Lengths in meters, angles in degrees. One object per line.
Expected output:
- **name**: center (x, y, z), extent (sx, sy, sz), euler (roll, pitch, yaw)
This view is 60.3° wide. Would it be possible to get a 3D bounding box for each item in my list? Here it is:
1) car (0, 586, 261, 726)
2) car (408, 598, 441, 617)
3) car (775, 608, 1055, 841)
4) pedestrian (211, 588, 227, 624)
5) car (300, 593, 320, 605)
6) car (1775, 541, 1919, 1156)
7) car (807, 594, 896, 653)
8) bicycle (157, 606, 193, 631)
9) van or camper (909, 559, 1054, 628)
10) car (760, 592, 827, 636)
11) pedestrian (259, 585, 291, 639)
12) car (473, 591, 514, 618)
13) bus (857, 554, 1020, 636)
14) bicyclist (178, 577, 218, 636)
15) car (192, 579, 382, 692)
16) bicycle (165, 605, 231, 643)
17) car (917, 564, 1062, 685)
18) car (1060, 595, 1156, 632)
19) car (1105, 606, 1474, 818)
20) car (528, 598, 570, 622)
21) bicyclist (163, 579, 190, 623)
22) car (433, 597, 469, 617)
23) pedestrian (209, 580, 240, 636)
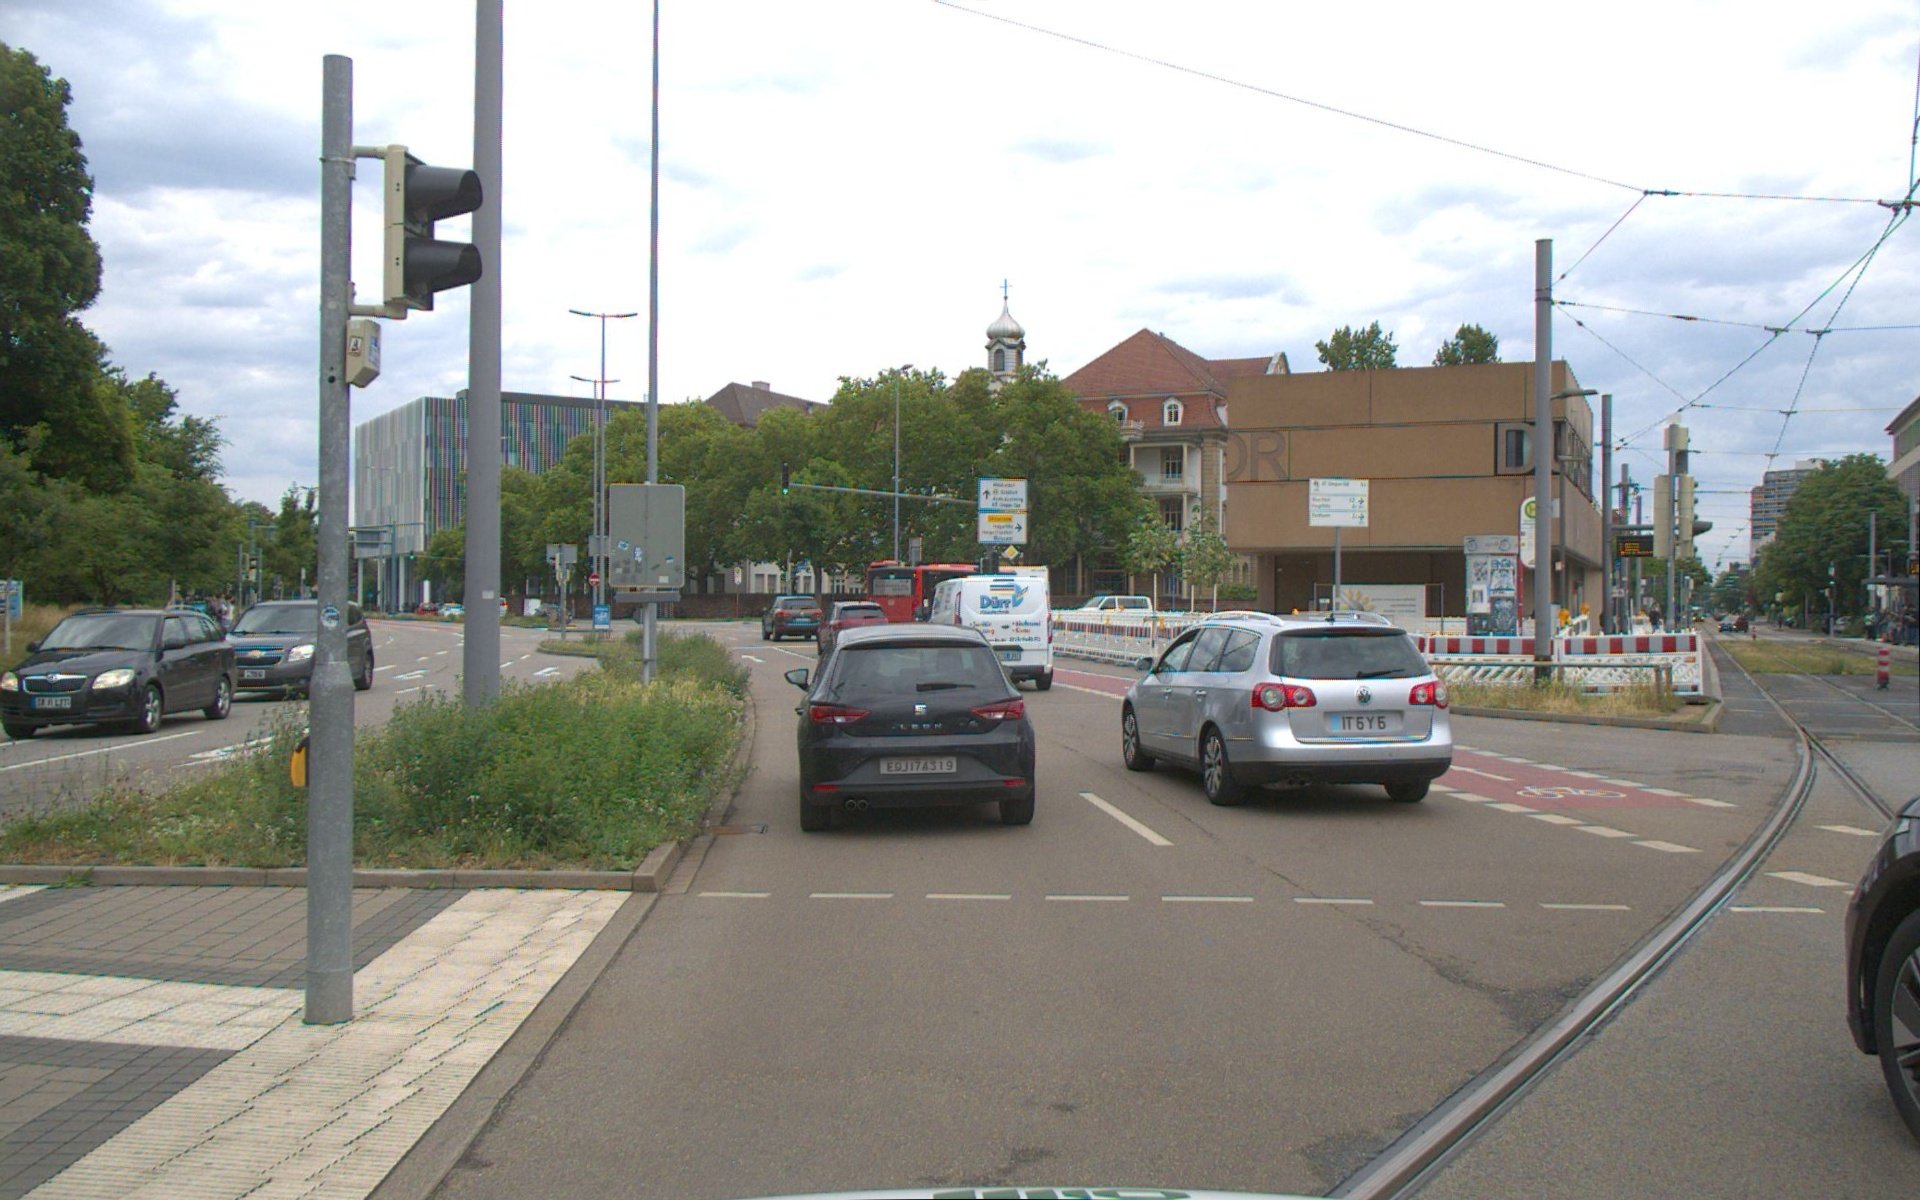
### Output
- **car**: center (-10.548, 0.651, 20.900), extent (1.834, 1.534, 4.474), euler (-2, 0, -5)
- **car**: center (-48.625, 0.664, 150.168), extent (1.974, 1.711, 3.968), euler (1, 0, -31)
- **car**: center (-0.515, 0.845, 13.133), extent (1.713, 1.489, 3.992), euler (-2, 0, -9)
- **pedestrian**: center (-43.020, 0.359, 96.015), extent (0.743, 2.049, 1.041), euler (1, -1, -18)
- **car**: center (-74.774, -0.099, 190.290), extent (1.693, 1.287, 3.306), euler (1, -1, -30)
- **car**: center (3.647, 0.681, 3.080), extent (1.865, 1.687, 4.512), euler (1, 0, -3)
- **car**: center (-3.186, 0.656, 48.002), extent (1.827, 1.628, 4.188), euler (1, 0, -15)
- **bicycle**: center (-28.991, 0.669, 61.102), extent (0.702, 0.898, 1.878), euler (1, 0, -11)
- **van or camper**: center (1.139, -0.280, 85.231), extent (7.057, 3.391, 2.846), euler (1, -2, -31)
- **car**: center (-6.355, 0.524, 62.765), extent (1.960, 1.593, 4.189), euler (1, 0, -14)
- **pedestrian**: center (-24.298, 0.433, 58.653), extent (0.876, 1.875, 0.666), euler (1, -1, -9)
- **car**: center (-36.381, 0.351, 128.895), extent (1.976, 2.049, 3.954), euler (0, 0, -33)
- **bus**: center (-0.703, -0.119, 74.260), extent (2.995, 3.355, 12.379), euler (1, -1, 21)
- **bicyclist**: center (-24.287, 0.208, 52.701), extent (0.773, 1.876, 0.834), euler (0, -1, 20)
- **car**: center (-11.439, 0.576, 28.450), extent (1.835, 1.755, 4.705), euler (-1, 0, -7)
- **bicycle**: center (-24.277, 0.767, 52.713), extent (0.772, 1.179, 1.907), euler (0, -1, 21)
- **car**: center (0.450, 0.439, 30.770), extent (1.956, 2.054, 5.023), euler (1, 0, -8)
- **car**: center (7.994, 0.759, 89.345), extent (4.937, 1.897, 1.979), euler (1, -4, -31)
- **car**: center (2.597, 0.811, 14.244), extent (1.688, 1.508, 4.620), euler (0, 0, -8)
- **car**: center (-30.346, 0.721, 121.996), extent (1.899, 1.713, 3.956), euler (1, 0, -32)
- **bicyclist**: center (-28.994, 0.044, 61.187), extent (0.702, 1.598, 0.710), euler (1, -1, -11)
- **car**: center (-42.957, 0.588, 139.587), extent (1.974, 1.668, 3.956), euler (0, 0, -32)
- **pedestrian**: center (-24.602, 0.271, 55.357), extent (0.743, 1.874, 0.765), euler (-1, -1, -9)
